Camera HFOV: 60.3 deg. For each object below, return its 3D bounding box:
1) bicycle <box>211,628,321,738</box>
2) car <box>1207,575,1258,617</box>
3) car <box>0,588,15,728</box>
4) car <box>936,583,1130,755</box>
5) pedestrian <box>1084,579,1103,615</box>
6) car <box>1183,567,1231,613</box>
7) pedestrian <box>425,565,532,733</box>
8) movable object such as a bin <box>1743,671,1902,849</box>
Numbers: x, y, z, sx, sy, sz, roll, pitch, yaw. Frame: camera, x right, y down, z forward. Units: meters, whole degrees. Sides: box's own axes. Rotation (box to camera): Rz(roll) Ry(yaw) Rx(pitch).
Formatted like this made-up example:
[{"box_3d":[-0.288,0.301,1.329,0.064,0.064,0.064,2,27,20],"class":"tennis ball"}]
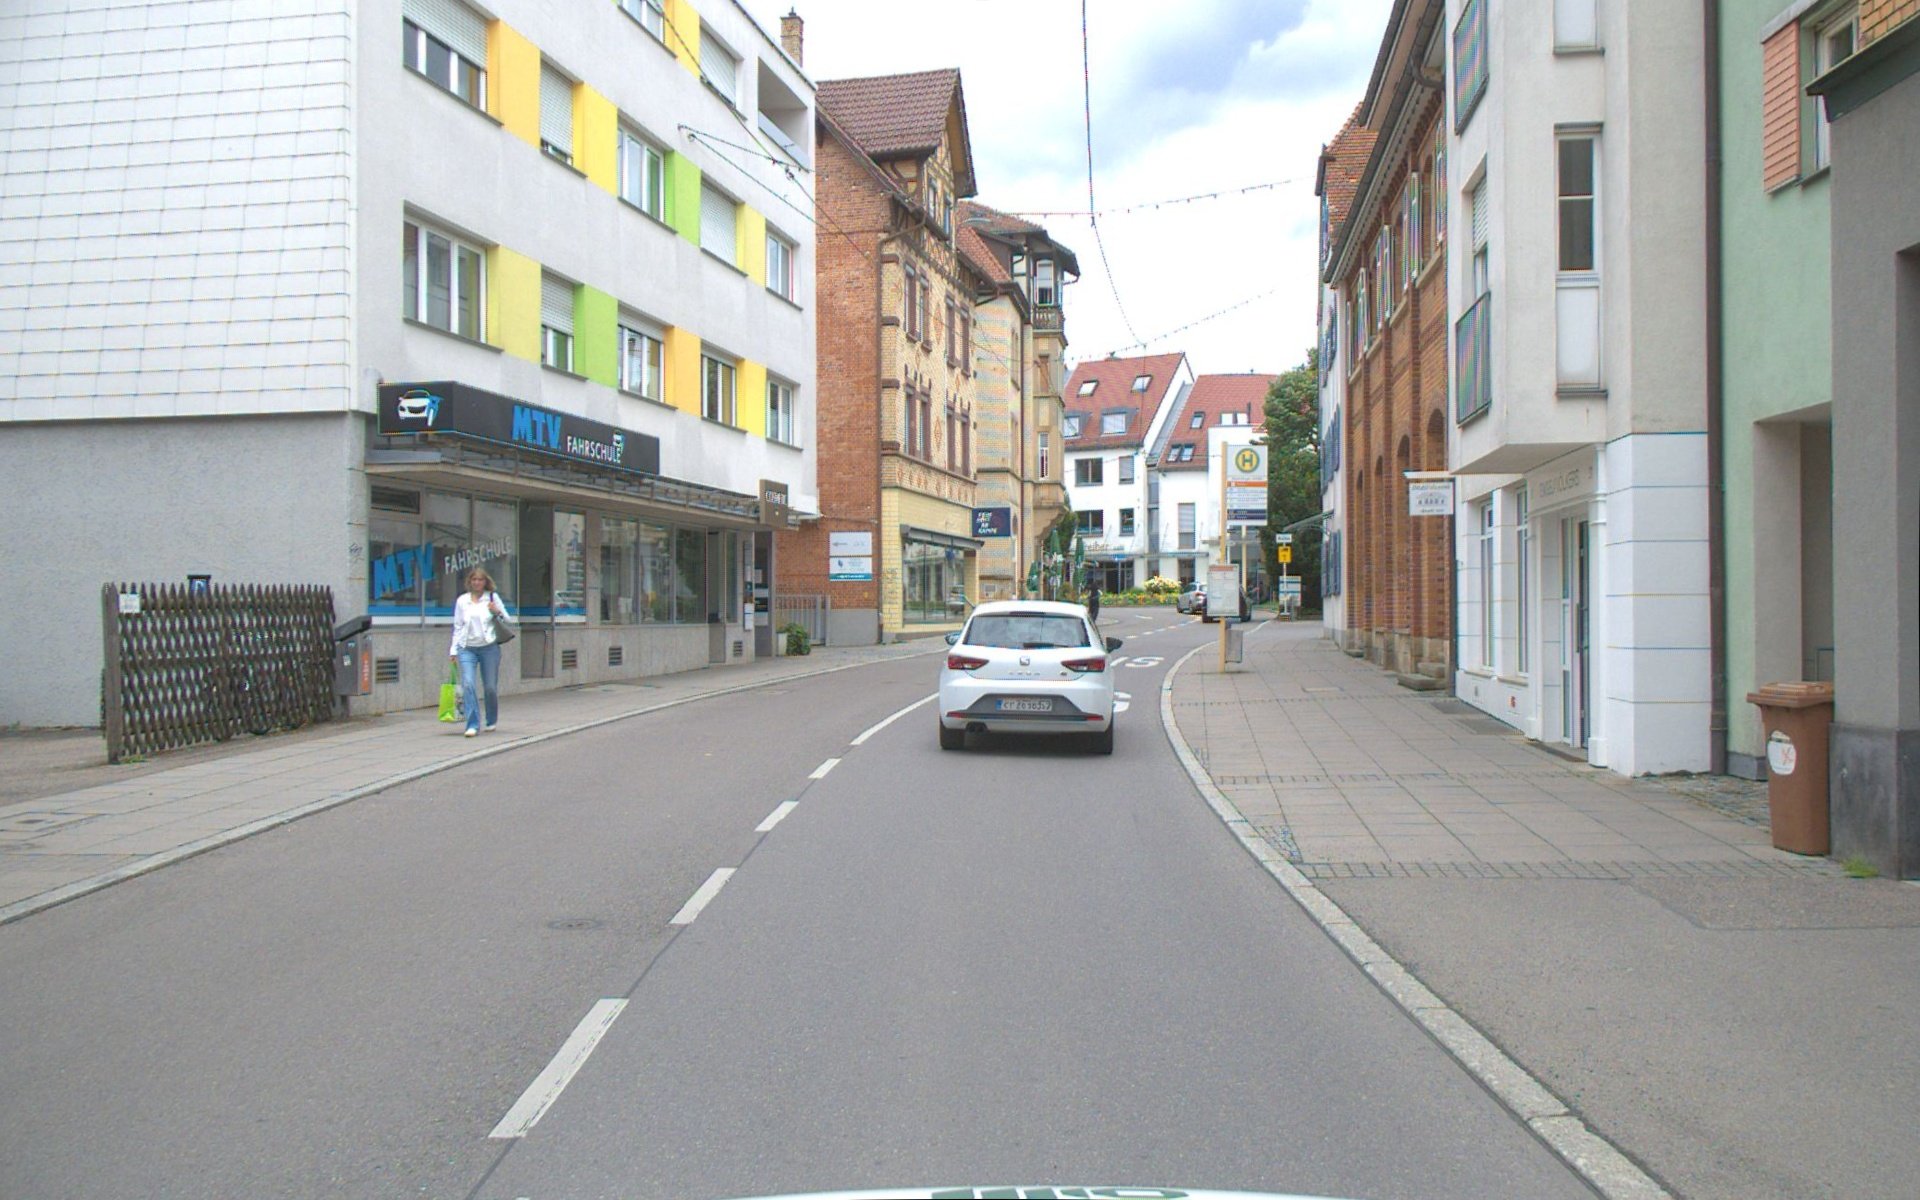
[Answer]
[{"box_3d":[-7.422,0.863,17.751,0.316,1.072,1.750,0,1,4],"class":"bicycle"},{"box_3d":[10.646,-0.183,64.344,1.773,1.506,3.874,0,2,12],"class":"car"},{"box_3d":[-11.753,0.696,16.937,1.955,1.590,4.284,-1,1,-5],"class":"car"},{"box_3d":[0.825,0.625,17.264,1.773,1.506,3.873,-1,2,4],"class":"car"},{"box_3d":[5.790,-0.128,71.713,0.816,1.579,0.628,0,0,5],"class":"pedestrian"},{"box_3d":[11.488,-0.473,77.142,1.951,2.049,4.003,-1,1,5],"class":"car"},{"box_3d":[-5.009,0.490,17.260,0.875,1.694,0.861,-1,0,-3],"class":"pedestrian"},{"box_3d":[4.823,0.883,9.276,0.606,0.937,0.582,-1,0,4],"class":"movable object such as a bin"}]
